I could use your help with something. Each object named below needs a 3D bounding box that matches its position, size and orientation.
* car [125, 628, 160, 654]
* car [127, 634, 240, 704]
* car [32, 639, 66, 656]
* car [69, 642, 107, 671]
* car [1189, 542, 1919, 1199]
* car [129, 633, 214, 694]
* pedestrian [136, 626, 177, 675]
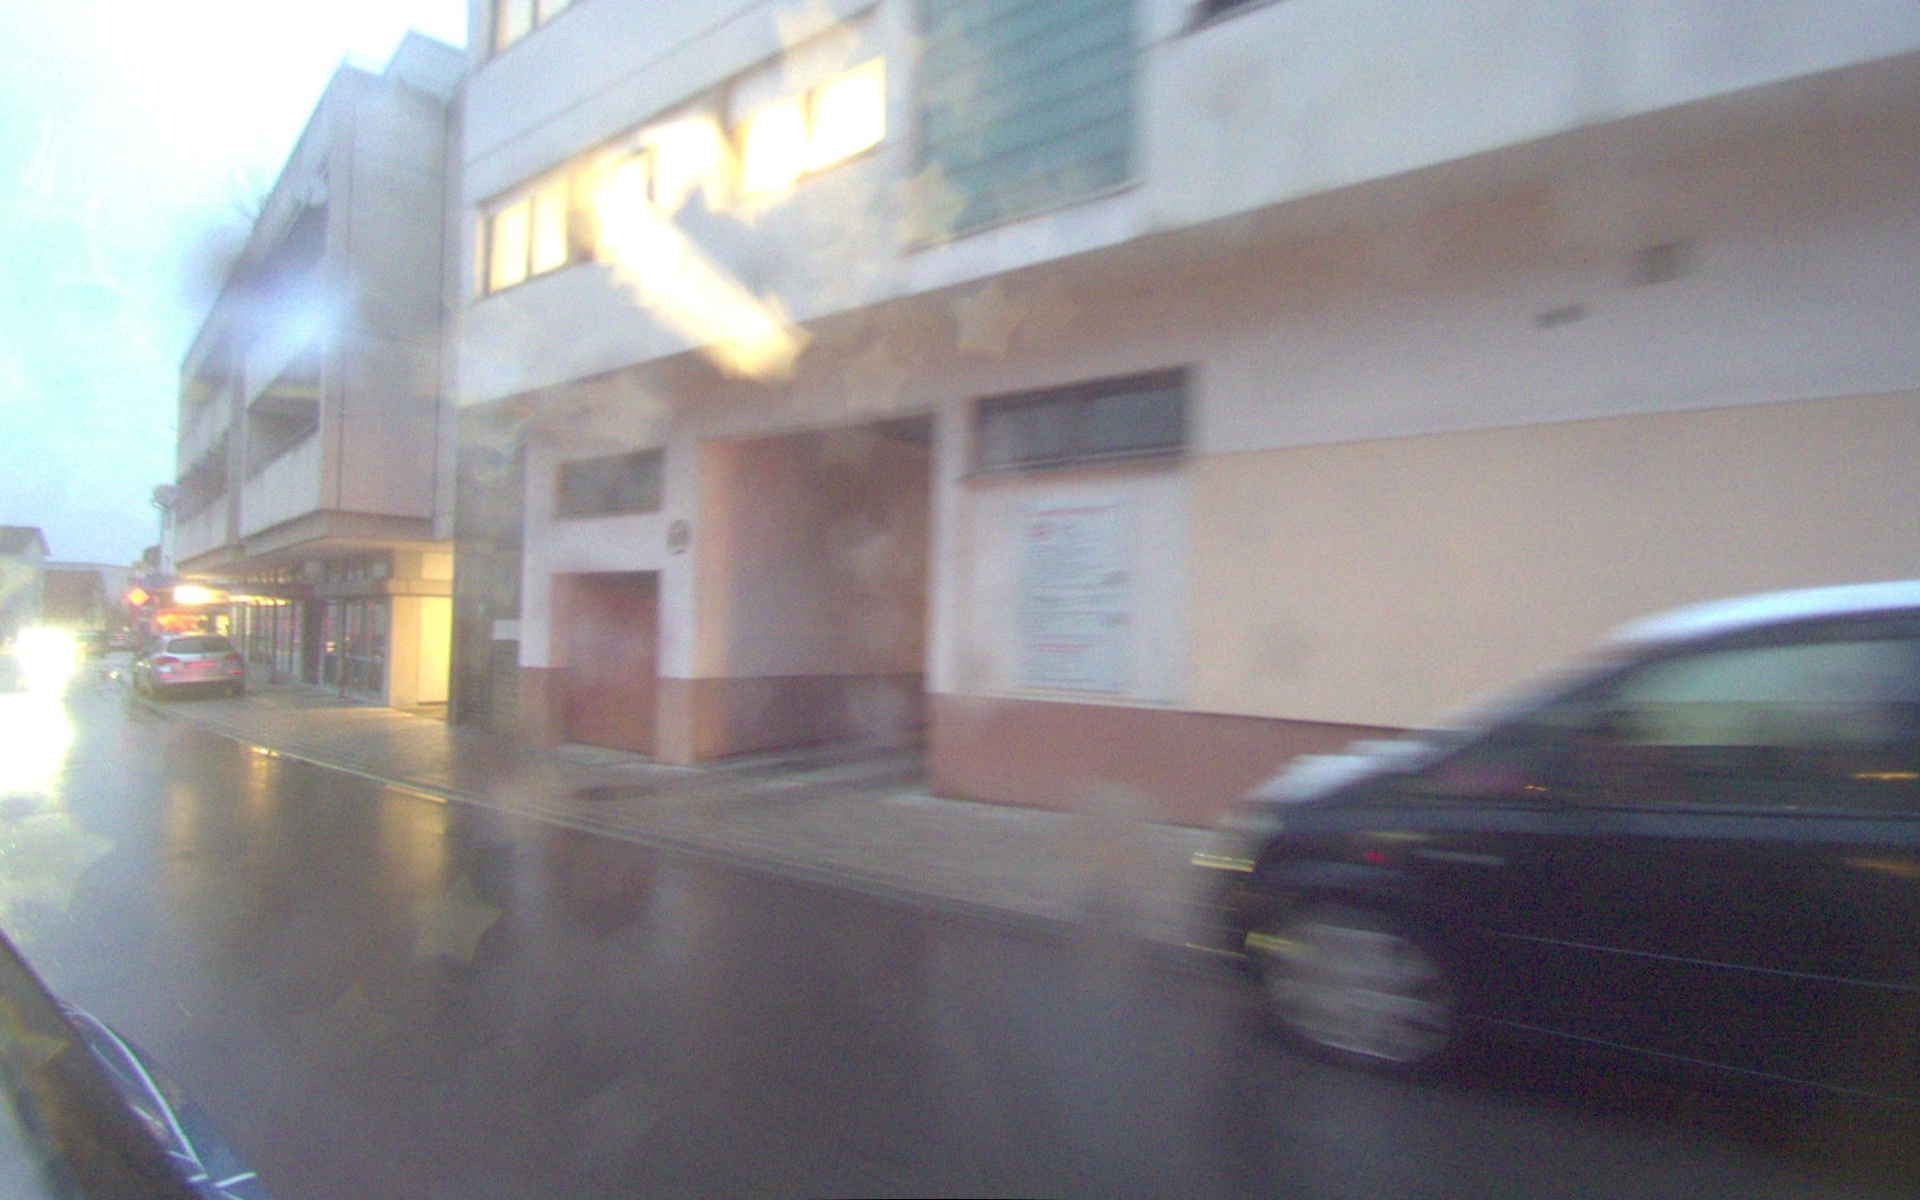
[{"bbox_3d":[-85.371,4.283,105.742,2.013,2.680,4.223,-1,-2,-27],"label":"car"},{"bbox_3d":[-18.675,1.585,24.272,1.656,1.457,4.431,-1,-1,-44],"label":"car"},{"bbox_3d":[-84.429,4.425,93.850,1.770,1.522,4.010,4,-4,-34],"label":"car"},{"bbox_3d":[-52.986,3.423,61.483,1.700,1.626,3.820,-1,-1,-41],"label":"car"},{"bbox_3d":[2.876,0.696,3.187,3.808,1.655,1.776,-2,-2,39],"label":"car"},{"bbox_3d":[-22.129,1.715,28.345,1.595,1.544,3.933,0,-2,-42],"label":"car"},{"bbox_3d":[-32.703,2.041,41.224,1.182,1.953,0.979,2,-4,-35],"label":"pedestrian"}]
